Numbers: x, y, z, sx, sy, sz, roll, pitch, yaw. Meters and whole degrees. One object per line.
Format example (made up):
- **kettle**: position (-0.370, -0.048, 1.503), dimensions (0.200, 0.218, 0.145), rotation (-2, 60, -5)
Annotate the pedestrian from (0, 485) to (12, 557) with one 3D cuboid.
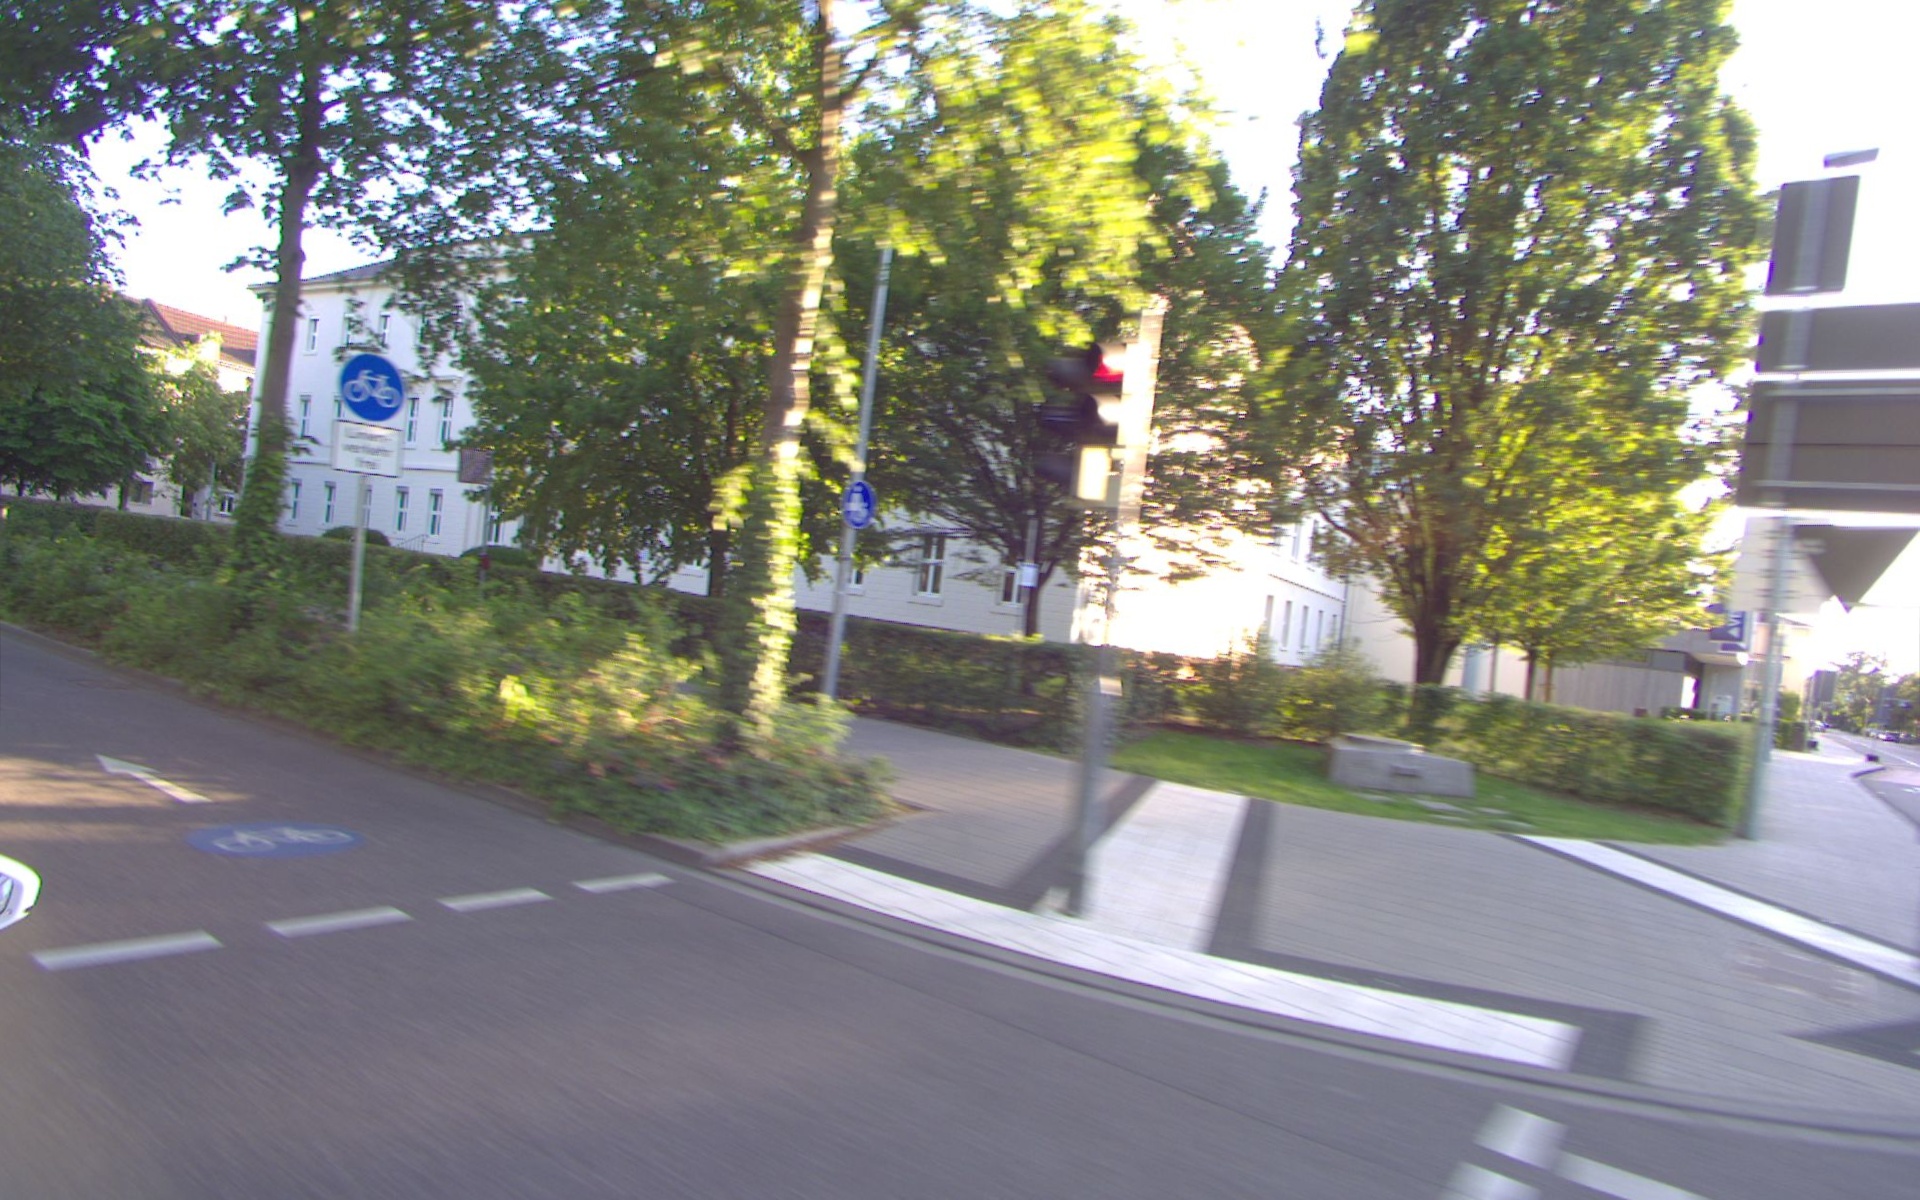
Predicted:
- **pedestrian**: position (-24.105, -2.000, 24.749), dimensions (0.793, 1.760, 0.772), rotation (7, 0, 24)
